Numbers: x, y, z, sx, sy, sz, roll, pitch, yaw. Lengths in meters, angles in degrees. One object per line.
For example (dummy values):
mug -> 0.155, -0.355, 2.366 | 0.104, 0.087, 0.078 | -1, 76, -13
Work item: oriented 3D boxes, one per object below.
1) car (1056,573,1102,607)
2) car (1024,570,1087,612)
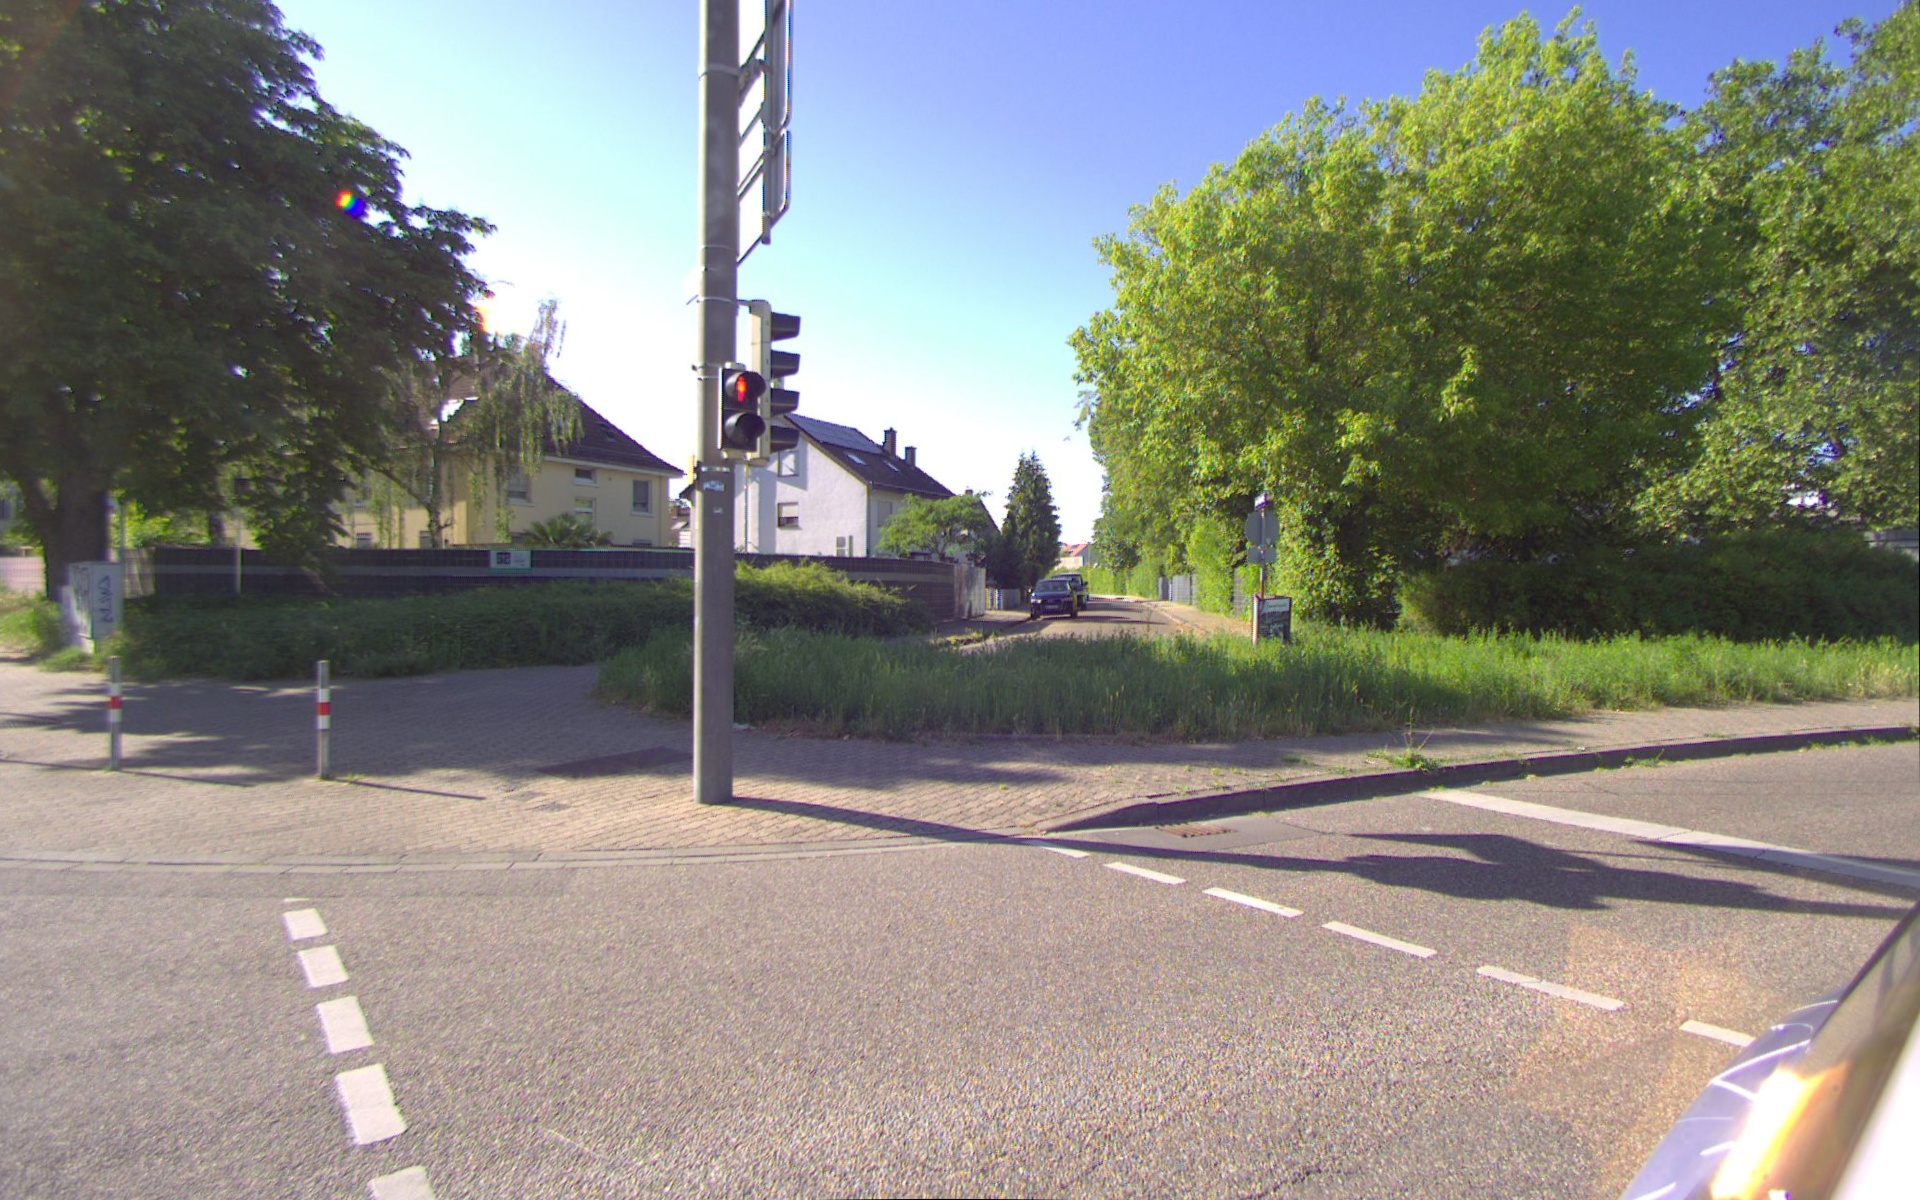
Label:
car -> 6.135, -0.518, 51.812 | 1.934, 1.687, 3.985 | -1, 1, 13
car -> 3.828, -0.363, 40.145 | 1.970, 1.576, 3.985 | -1, 1, 13
